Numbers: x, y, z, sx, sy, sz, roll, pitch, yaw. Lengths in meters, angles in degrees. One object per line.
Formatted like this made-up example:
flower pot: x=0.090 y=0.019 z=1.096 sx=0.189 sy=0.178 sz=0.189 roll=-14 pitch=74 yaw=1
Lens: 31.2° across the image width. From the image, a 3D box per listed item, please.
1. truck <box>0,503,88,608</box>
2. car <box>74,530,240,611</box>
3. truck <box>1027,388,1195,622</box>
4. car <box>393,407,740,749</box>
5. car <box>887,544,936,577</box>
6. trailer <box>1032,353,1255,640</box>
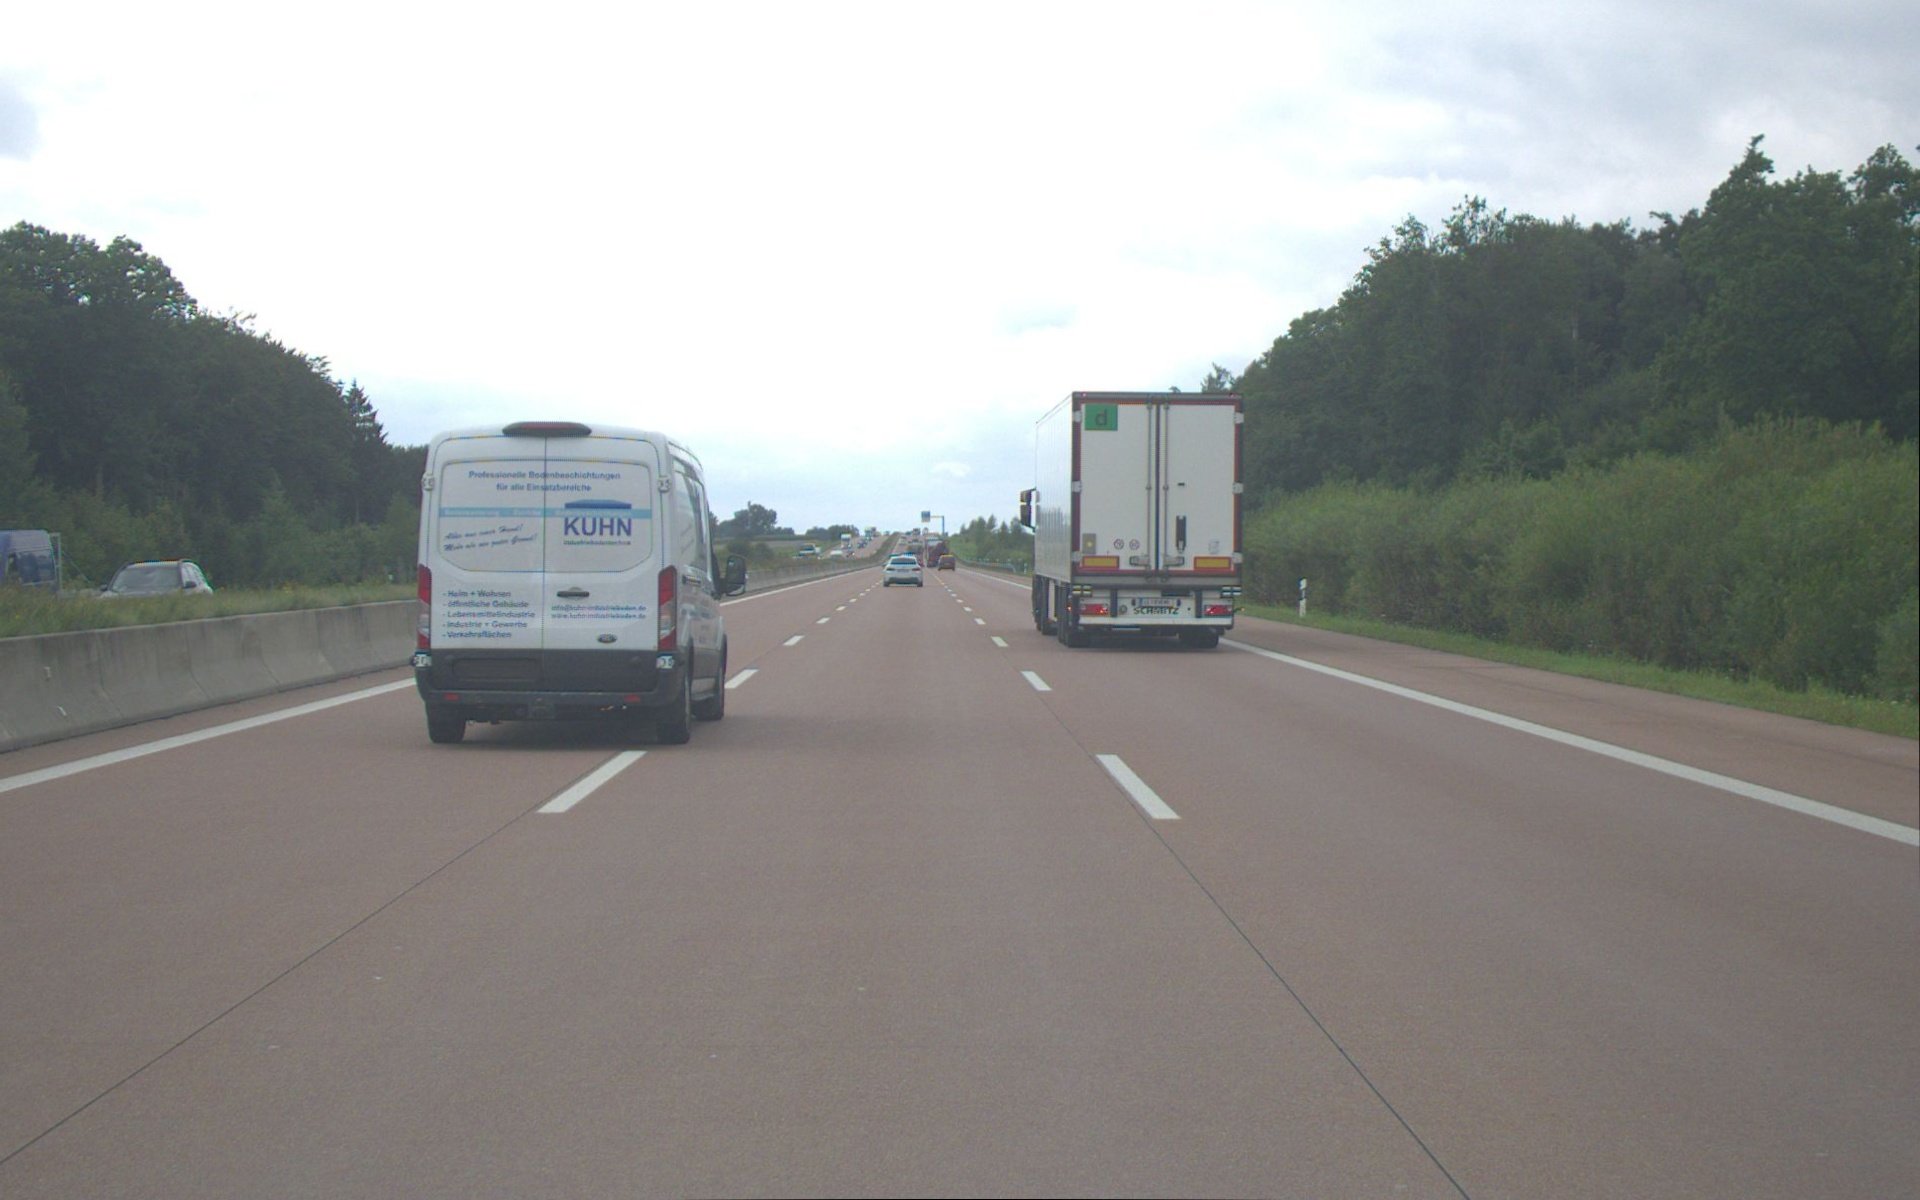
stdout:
truck: x=-20.484 y=-0.972 z=73.250 sx=2.346 sy=2.154 sz=6.043 roll=0 pitch=1 yaw=-1
car: x=-16.837 y=-0.638 z=72.336 sx=2.346 sy=1.621 sz=5.128 roll=0 pitch=1 yaw=-1
truck: x=2.823 y=-1.771 z=65.730 sx=2.921 sy=4.279 sz=5.335 roll=0 pitch=1 yaw=0
car: x=-3.102 y=-0.237 z=28.689 sx=2.137 sy=2.498 sz=7.132 roll=0 pitch=1 yaw=0
car: x=-2.318 y=-1.910 z=165.361 sx=2.163 sy=1.446 sz=4.719 roll=1 pitch=1 yaw=1
trailer: x=2.880 y=-1.639 z=58.165 sx=2.921 sy=4.279 sz=13.614 roll=0 pitch=1 yaw=0
